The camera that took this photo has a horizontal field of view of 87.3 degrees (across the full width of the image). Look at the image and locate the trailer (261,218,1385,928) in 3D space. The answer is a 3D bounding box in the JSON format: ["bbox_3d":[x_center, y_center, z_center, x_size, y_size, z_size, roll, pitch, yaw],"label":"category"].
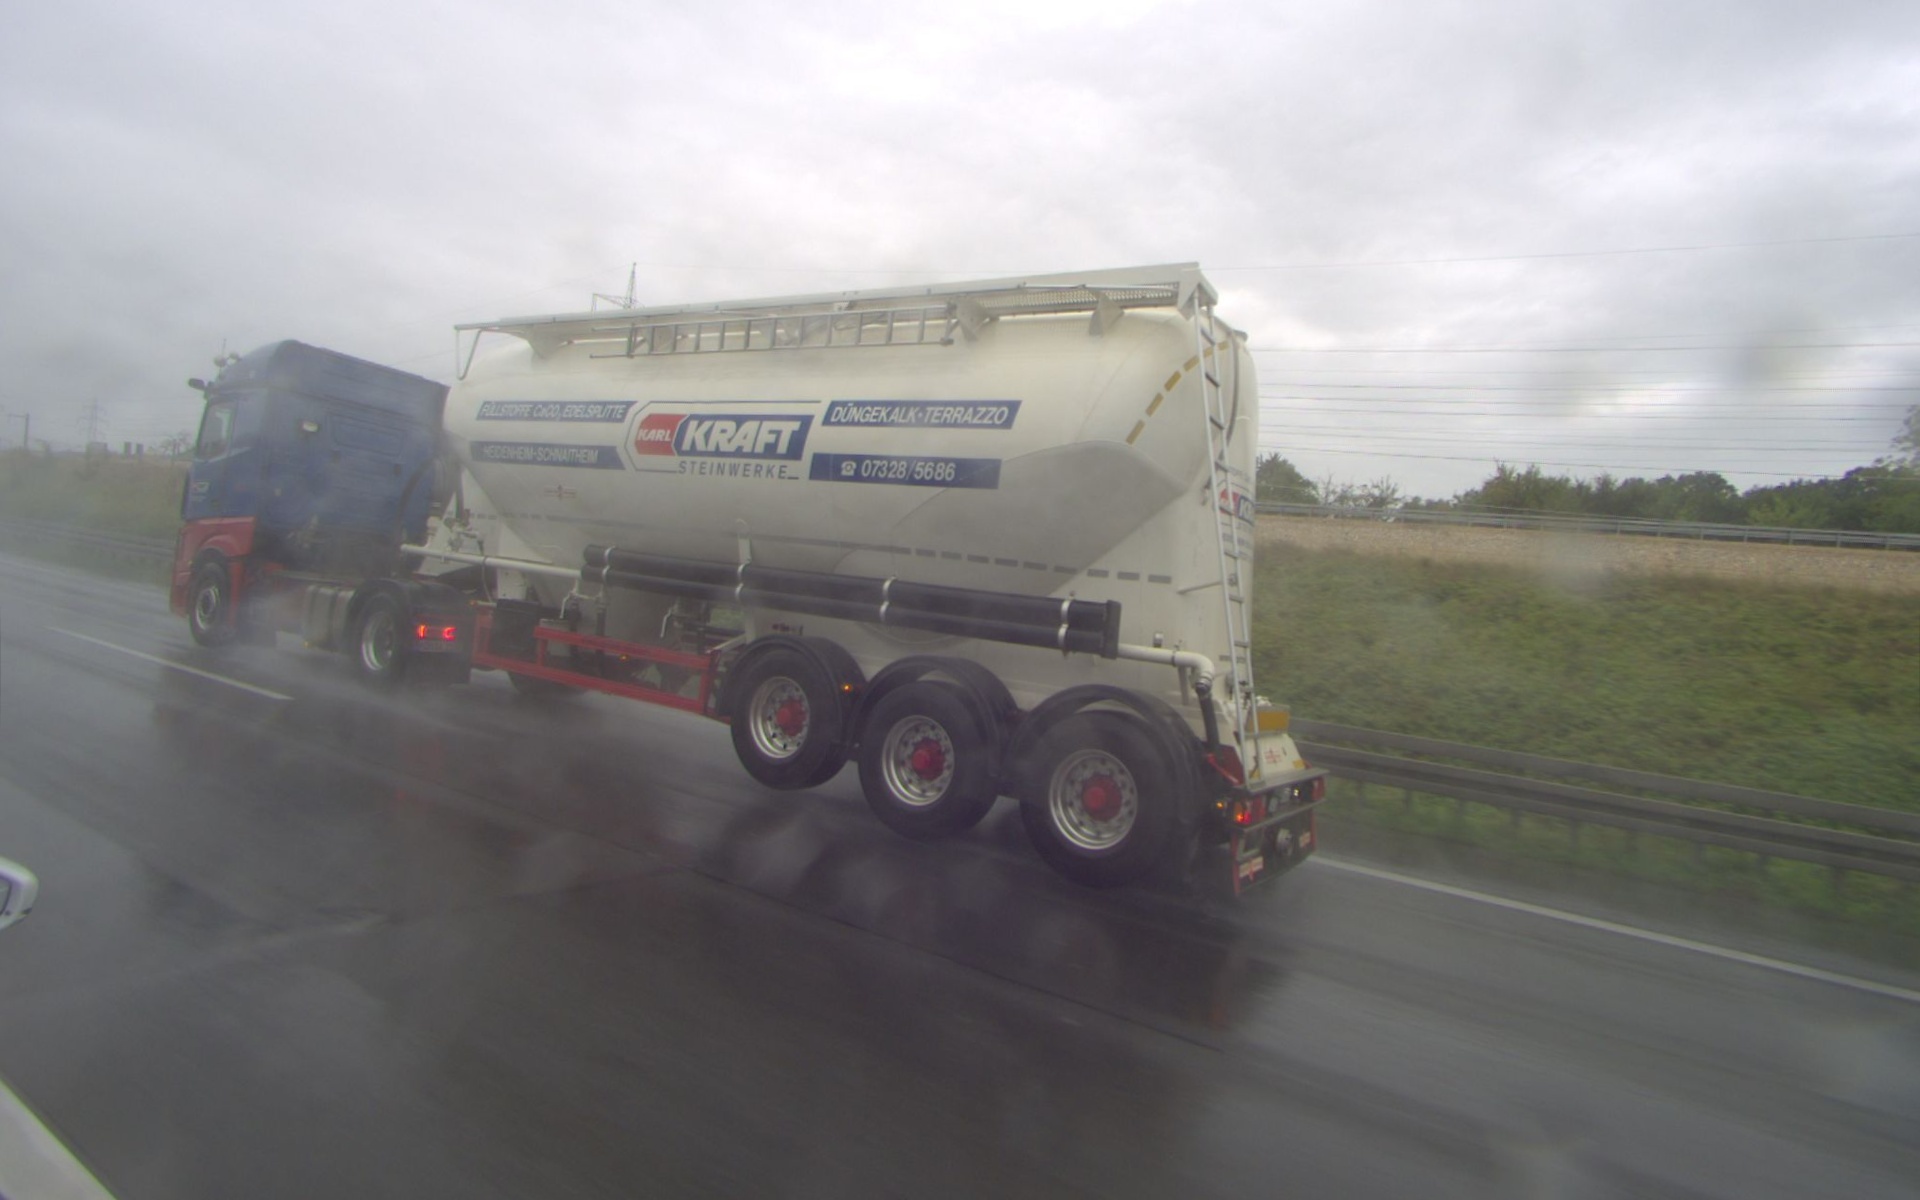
[{"bbox_3d":[-2.259,-0.633,9.415,10.881,3.928,2.502,8,0,31],"label":"trailer"}]

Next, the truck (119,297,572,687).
[{"bbox_3d":[-7.857,-1.302,12.783,4.990,4.031,2.501,8,0,31],"label":"truck"}]
